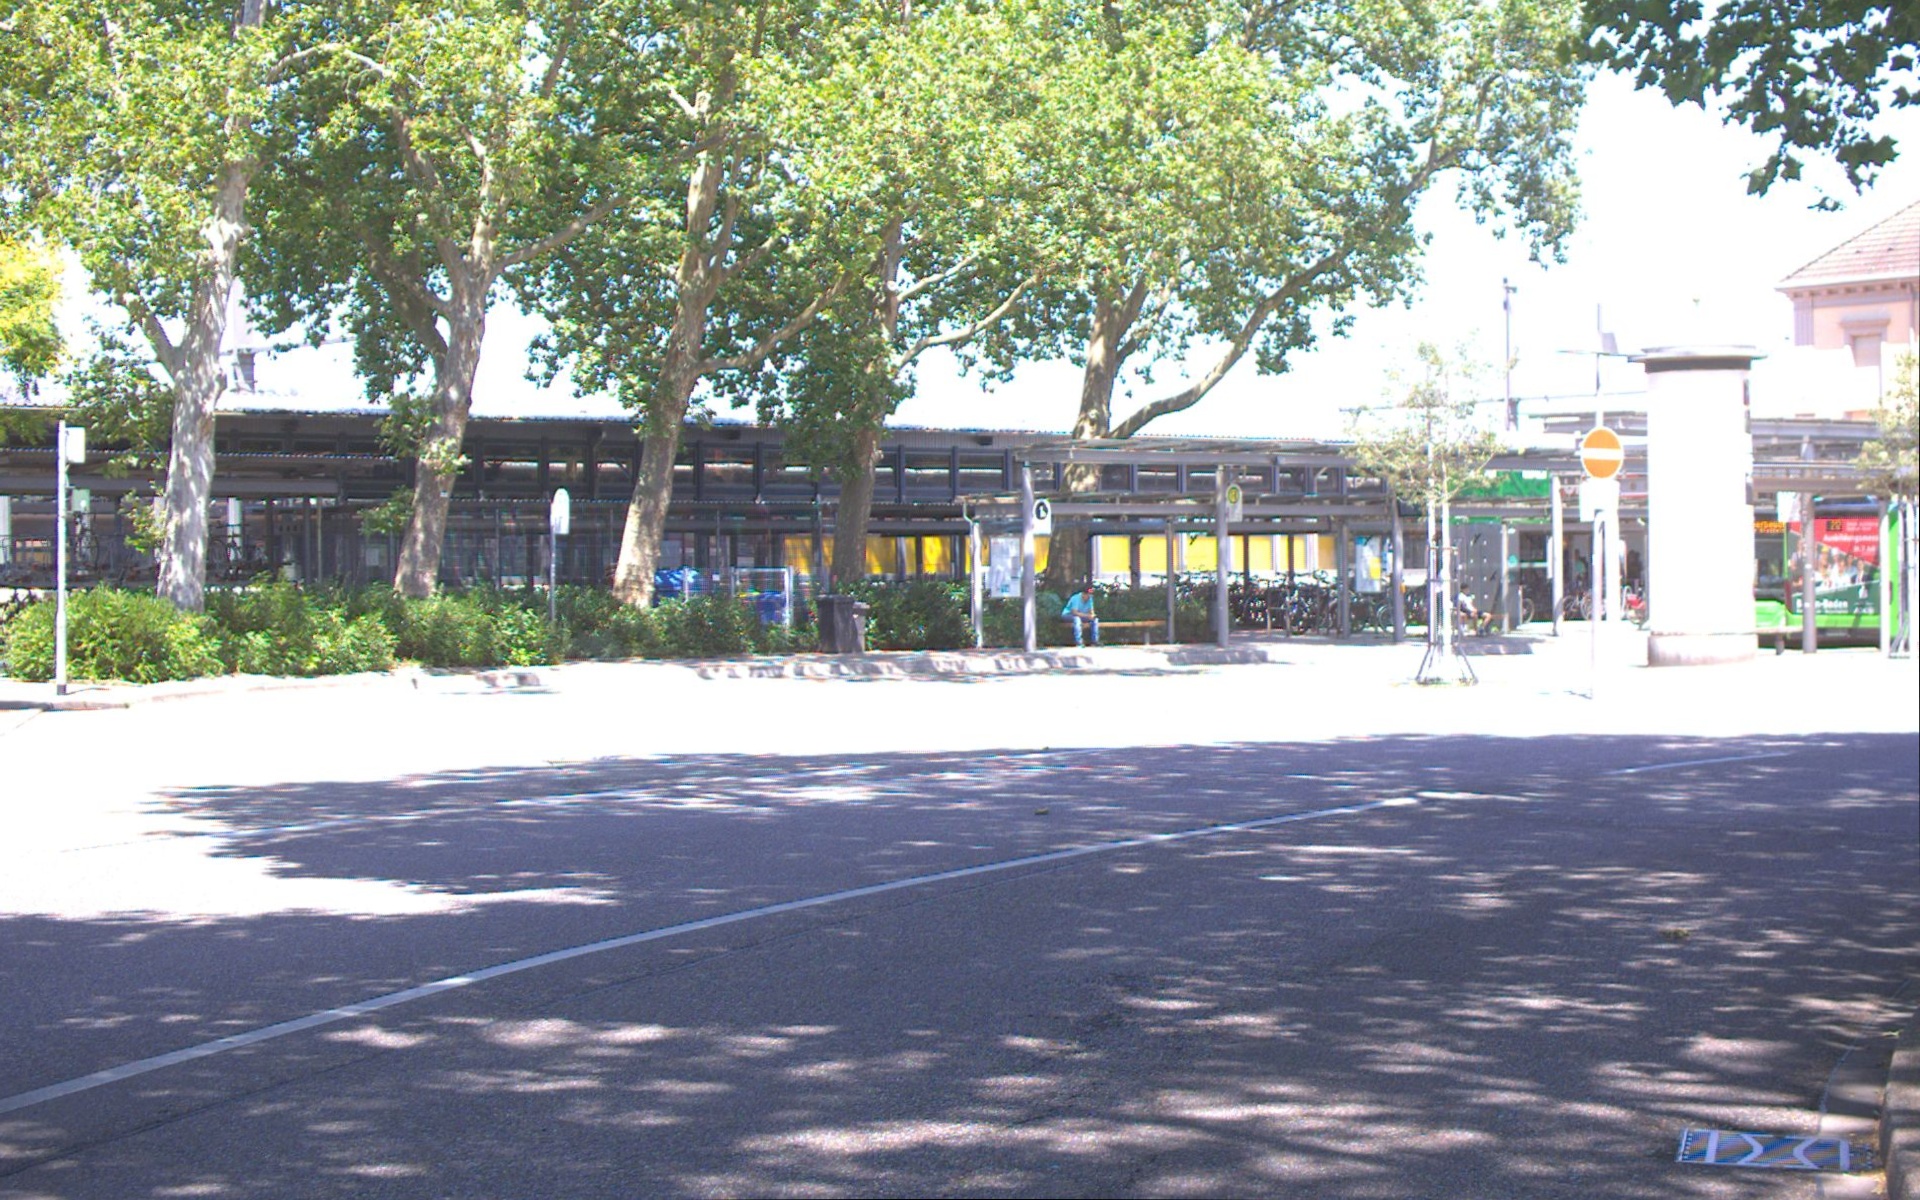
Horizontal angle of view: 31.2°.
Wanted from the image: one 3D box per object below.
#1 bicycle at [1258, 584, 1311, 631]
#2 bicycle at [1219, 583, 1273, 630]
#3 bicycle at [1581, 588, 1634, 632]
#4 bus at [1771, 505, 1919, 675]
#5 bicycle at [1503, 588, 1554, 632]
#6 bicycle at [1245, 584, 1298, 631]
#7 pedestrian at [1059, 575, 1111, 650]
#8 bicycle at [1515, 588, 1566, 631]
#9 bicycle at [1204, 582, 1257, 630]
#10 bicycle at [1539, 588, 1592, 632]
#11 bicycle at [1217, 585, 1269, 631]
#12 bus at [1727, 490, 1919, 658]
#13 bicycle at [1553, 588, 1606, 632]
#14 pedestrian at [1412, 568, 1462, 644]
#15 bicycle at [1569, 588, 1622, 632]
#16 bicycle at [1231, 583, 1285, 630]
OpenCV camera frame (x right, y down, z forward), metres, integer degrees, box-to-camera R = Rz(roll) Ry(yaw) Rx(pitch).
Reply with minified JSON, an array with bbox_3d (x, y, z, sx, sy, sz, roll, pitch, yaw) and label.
[{"bbox_3d":[7.627,0.180,80.886,0.385,1.090,1.385,2,-1,-38],"label":"bicycle"},{"bbox_3d":[6.664,0.153,80.085,0.385,1.090,1.385,2,-1,-39],"label":"bicycle"},{"bbox_3d":[16.229,0.243,86.148,0.385,1.090,1.385,-1,0,-38],"label":"bicycle"},{"bbox_3d":[21.030,-0.185,66.786,13.852,3.031,2.682,0,0,-41],"label":"bus"},{"bbox_3d":[14.288,0.239,86.435,0.385,1.090,1.385,-1,0,-37],"label":"bicycle"},{"bbox_3d":[7.307,0.171,80.624,0.385,1.090,1.385,2,-1,-38],"label":"bicycle"},{"bbox_3d":[2.430,0.240,66.875,0.819,1.459,0.607,-1,0,-43],"label":"pedestrian"},{"bbox_3d":[14.629,0.240,86.699,0.385,1.090,1.385,-1,0,-37],"label":"bicycle"},{"bbox_3d":[6.270,0.143,79.781,0.385,1.090,1.385,2,-1,-38],"label":"bicycle"},{"bbox_3d":[14.993,0.249,85.161,0.366,1.096,1.405,-1,0,-38],"label":"bicycle"},{"bbox_3d":[6.748,0.189,82.018,0.385,1.090,1.385,2,-1,-38],"label":"bicycle"},{"bbox_3d":[21.785,-0.608,76.476,12.187,3.514,2.168,-1,1,-39],"label":"bus"},{"bbox_3d":[15.408,0.242,85.499,0.385,1.090,1.385,-1,0,-38],"label":"bicycle"},{"bbox_3d":[10.166,0.124,73.243,0.820,1.612,0.767,0,1,32],"label":"pedestrian"},{"bbox_3d":[15.872,0.247,85.882,0.385,1.090,1.385,-1,0,-38],"label":"bicycle"},{"bbox_3d":[6.966,0.163,80.399,0.385,1.090,1.385,2,-1,-38],"label":"bicycle"}]
